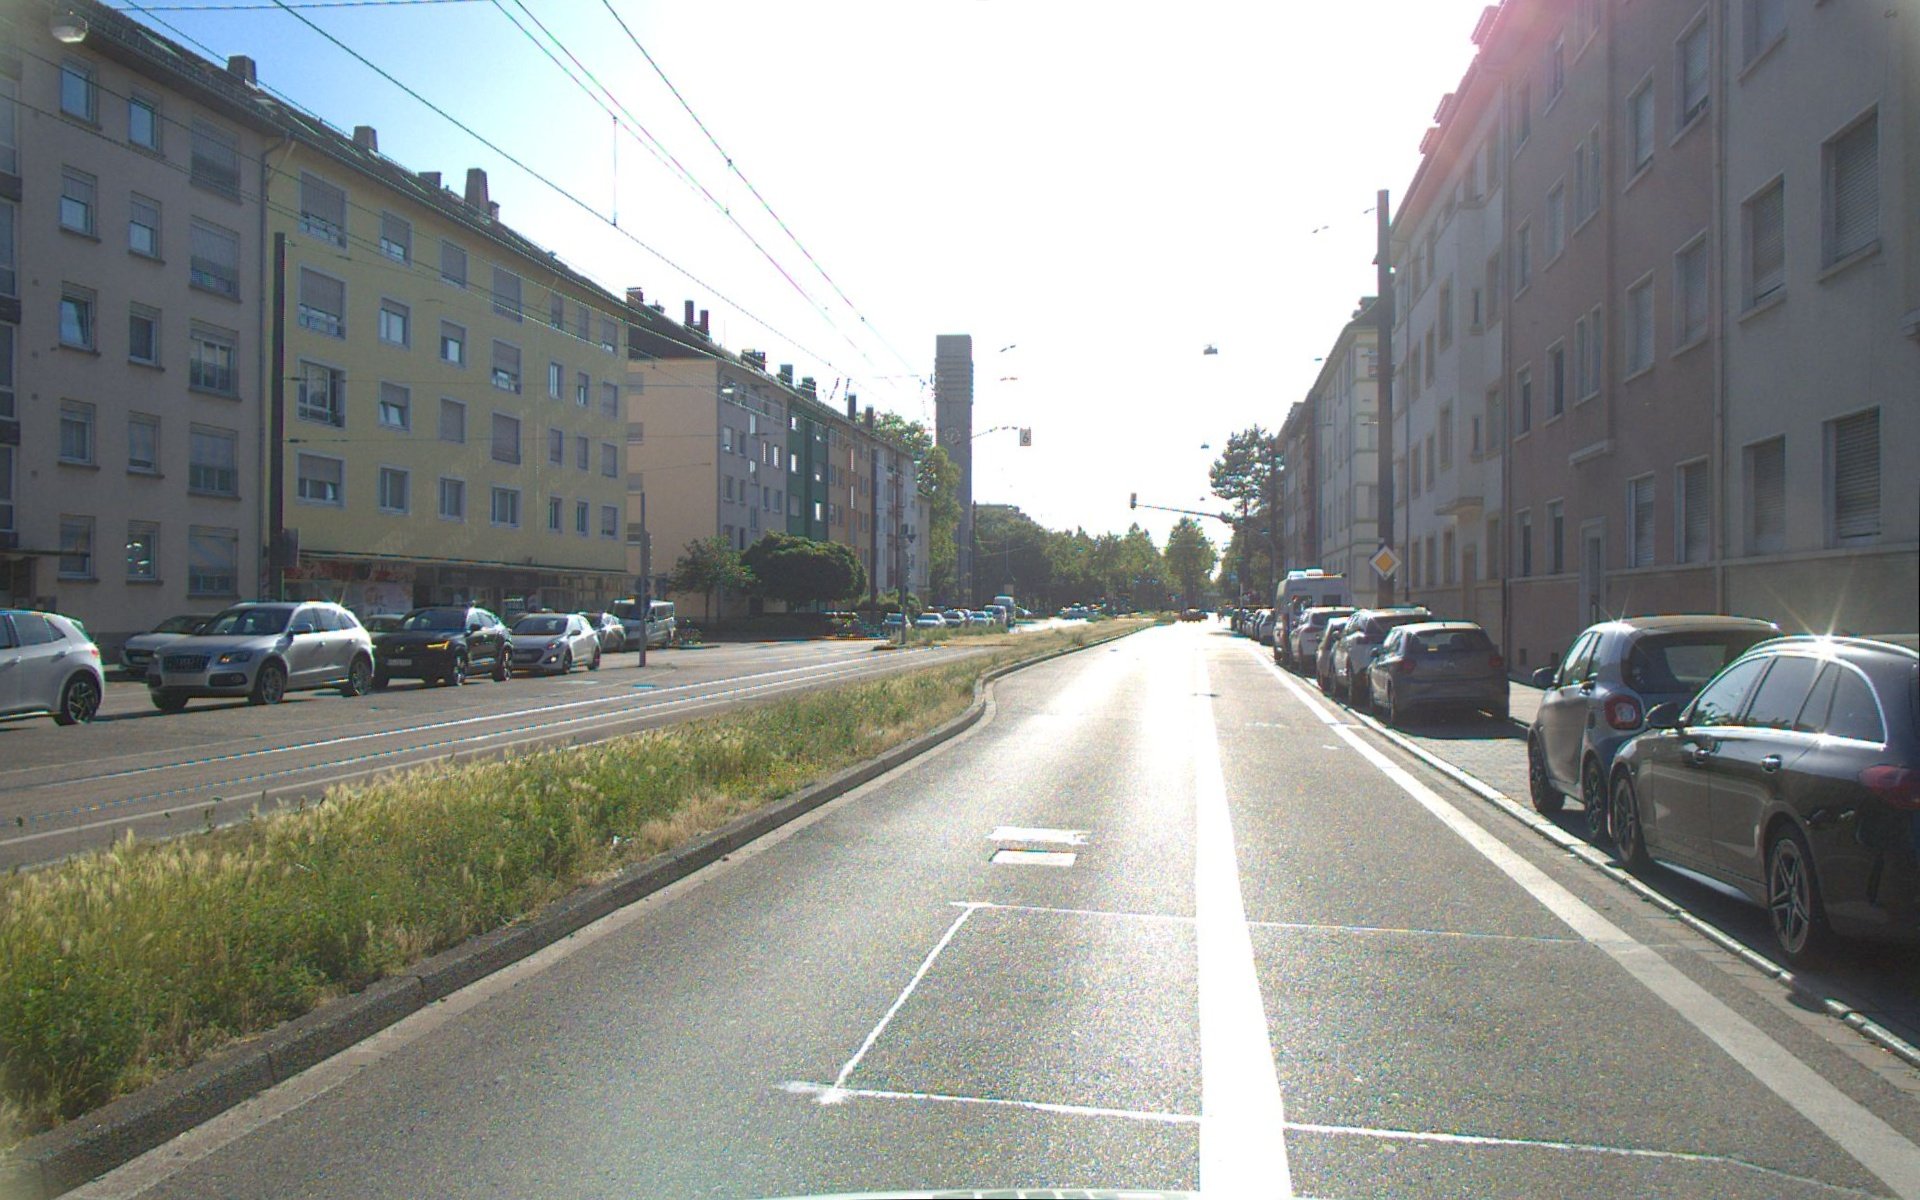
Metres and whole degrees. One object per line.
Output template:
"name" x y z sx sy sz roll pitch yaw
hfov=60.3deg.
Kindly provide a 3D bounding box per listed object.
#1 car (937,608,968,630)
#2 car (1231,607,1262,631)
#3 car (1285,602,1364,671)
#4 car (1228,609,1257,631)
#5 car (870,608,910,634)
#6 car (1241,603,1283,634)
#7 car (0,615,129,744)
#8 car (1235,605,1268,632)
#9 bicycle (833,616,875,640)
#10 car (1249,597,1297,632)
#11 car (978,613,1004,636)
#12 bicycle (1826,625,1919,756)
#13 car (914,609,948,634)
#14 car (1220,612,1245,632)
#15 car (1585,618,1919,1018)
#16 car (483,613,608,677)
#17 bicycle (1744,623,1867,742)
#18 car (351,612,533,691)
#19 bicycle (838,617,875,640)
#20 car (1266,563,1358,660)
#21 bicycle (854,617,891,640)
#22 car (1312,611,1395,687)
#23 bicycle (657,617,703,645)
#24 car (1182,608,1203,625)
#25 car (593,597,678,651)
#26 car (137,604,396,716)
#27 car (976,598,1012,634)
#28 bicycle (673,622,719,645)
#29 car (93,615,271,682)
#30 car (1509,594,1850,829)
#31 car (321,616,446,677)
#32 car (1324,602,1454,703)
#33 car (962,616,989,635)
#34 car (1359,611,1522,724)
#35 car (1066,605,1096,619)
"car" -0.581 1.473 127.485 1.951 1.581 4.002 -1 -2 6
"car" 19.223 1.286 111.203 1.857 1.514 3.741 -1 -2 7
"car" 9.497 0.922 43.266 1.556 1.663 3.921 -3 0 7
"car" 20.773 1.466 121.758 1.857 1.514 3.741 -1 -2 7
"car" -4.406 1.353 104.600 1.951 1.479 4.002 -1 -2 6
"car" 15.940 0.974 87.386 1.857 1.514 3.741 -1 -2 6
"car" -12.328 0.965 20.265 1.799 1.542 4.246 -1 -1 6
"car" 18.200 1.175 103.432 1.857 1.514 3.741 -1 -2 7
"bicycle" -6.023 1.611 94.145 2.260 1.328 0.913 -1 -2 5
"car" 14.533 0.690 76.903 1.857 1.514 3.741 -1 -2 6
"car" 2.867 2.331 153.640 1.951 1.999 4.754 -1 -2 6
"bicycle" 9.276 0.881 16.643 0.502 1.213 1.558 -1 0 9
"car" -2.048 1.552 117.254 1.951 1.609 4.002 -1 -2 6
"car" 22.531 1.860 136.954 1.857 1.514 3.741 -1 -2 7
"car" 4.799 0.855 8.546 1.843 1.422 4.745 -3 -1 8
"car" -10.232 1.105 41.110 1.784 1.471 4.286 -1 -1 4
"bicycle" 9.455 0.895 18.565 0.616 1.213 1.883 -2 0 9
"car" -10.649 1.050 34.381 1.921 1.506 4.572 -1 -1 6
"bicycle" -6.015 1.664 96.081 2.083 1.348 0.897 0 -2 2
"car" 10.660 0.350 50.522 2.113 2.698 5.647 -3 0 7
"bicycle" -5.196 1.712 98.349 2.088 1.348 0.895 0 -2 -9
"car" 8.357 1.017 35.288 1.470 1.451 3.456 -3 0 10
"bicycle" -12.557 1.390 74.160 1.934 1.227 0.693 0 -3 -19
"car" 27.267 1.918 193.856 1.952 1.814 4.000 0 -2 1
"car" -13.598 0.999 69.699 1.961 2.143 5.309 -1 -1 7
"car" -11.260 0.911 27.267 1.825 1.604 4.634 -2 0 7
"car" 3.419 1.605 162.488 2.922 3.295 6.797 -1 -2 6
"bicycle" -12.128 1.552 76.074 2.033 1.040 0.803 0 -2 -5
"car" -17.939 1.093 38.335 1.738 1.460 4.058 -1 -1 9
"car" 5.336 0.777 12.644 1.519 1.552 2.991 -2 -1 6
"car" -16.504 1.304 47.556 1.792 1.609 3.805 -1 0 9
"car" 7.823 0.910 30.524 1.626 1.672 4.187 -3 0 6
"car" 1.332 2.212 142.089 1.951 1.581 4.002 -1 -2 6
"car" 7.280 0.969 25.432 1.735 1.497 4.097 -3 0 7
"car" 16.179 1.601 220.704 3.904 1.714 2.000 0 -2 2
